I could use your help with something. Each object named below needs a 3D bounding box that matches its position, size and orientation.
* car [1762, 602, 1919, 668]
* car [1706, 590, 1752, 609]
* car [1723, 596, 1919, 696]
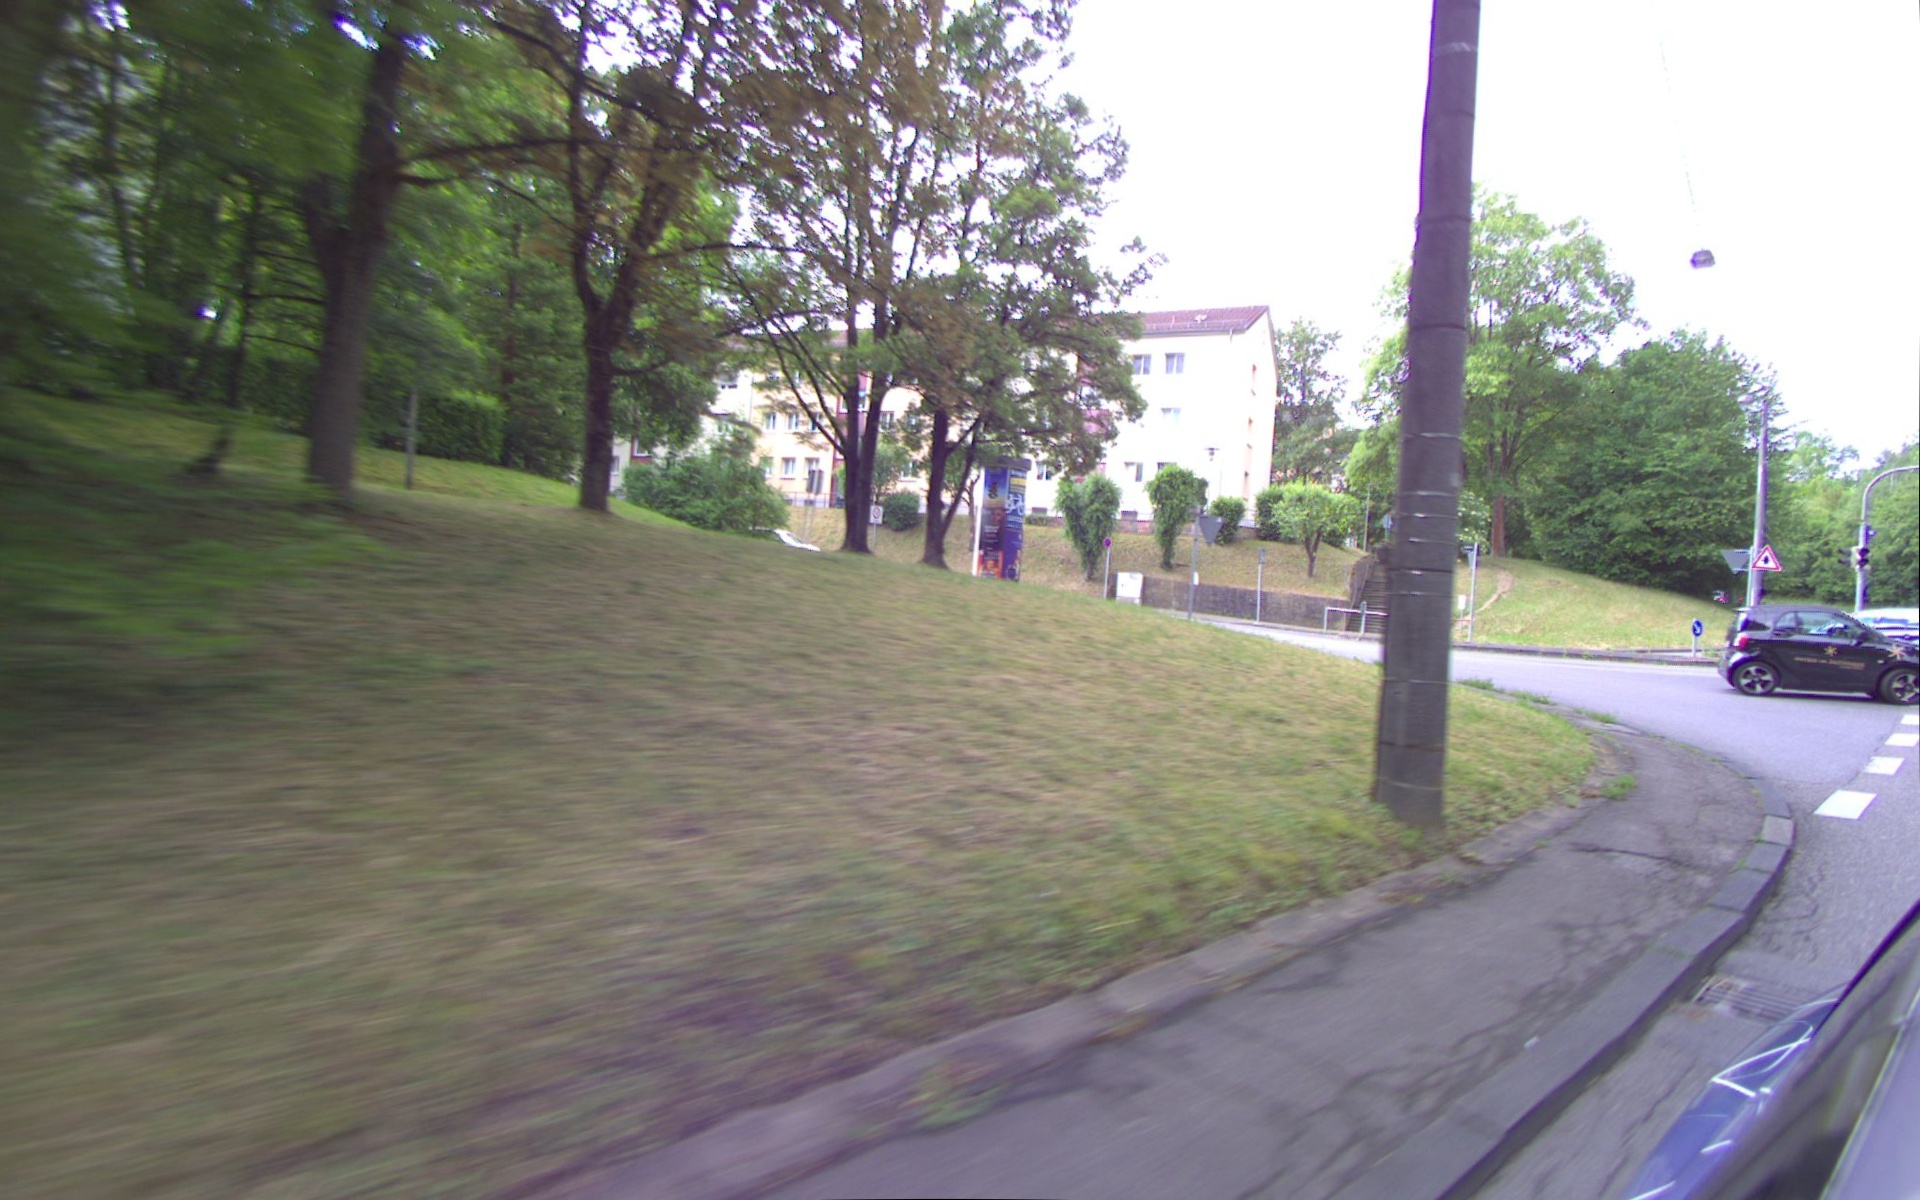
[{"bbox_3d":[22.624,0.843,24.548,1.757,1.534,4.851,1,-2,-15],"label":"car"},{"bbox_3d":[66.055,-0.070,87.014,1.882,1.370,4.809,2,3,22],"label":"car"},{"bbox_3d":[14.749,0.720,16.725,3.291,1.513,1.648,1,1,34],"label":"car"}]
